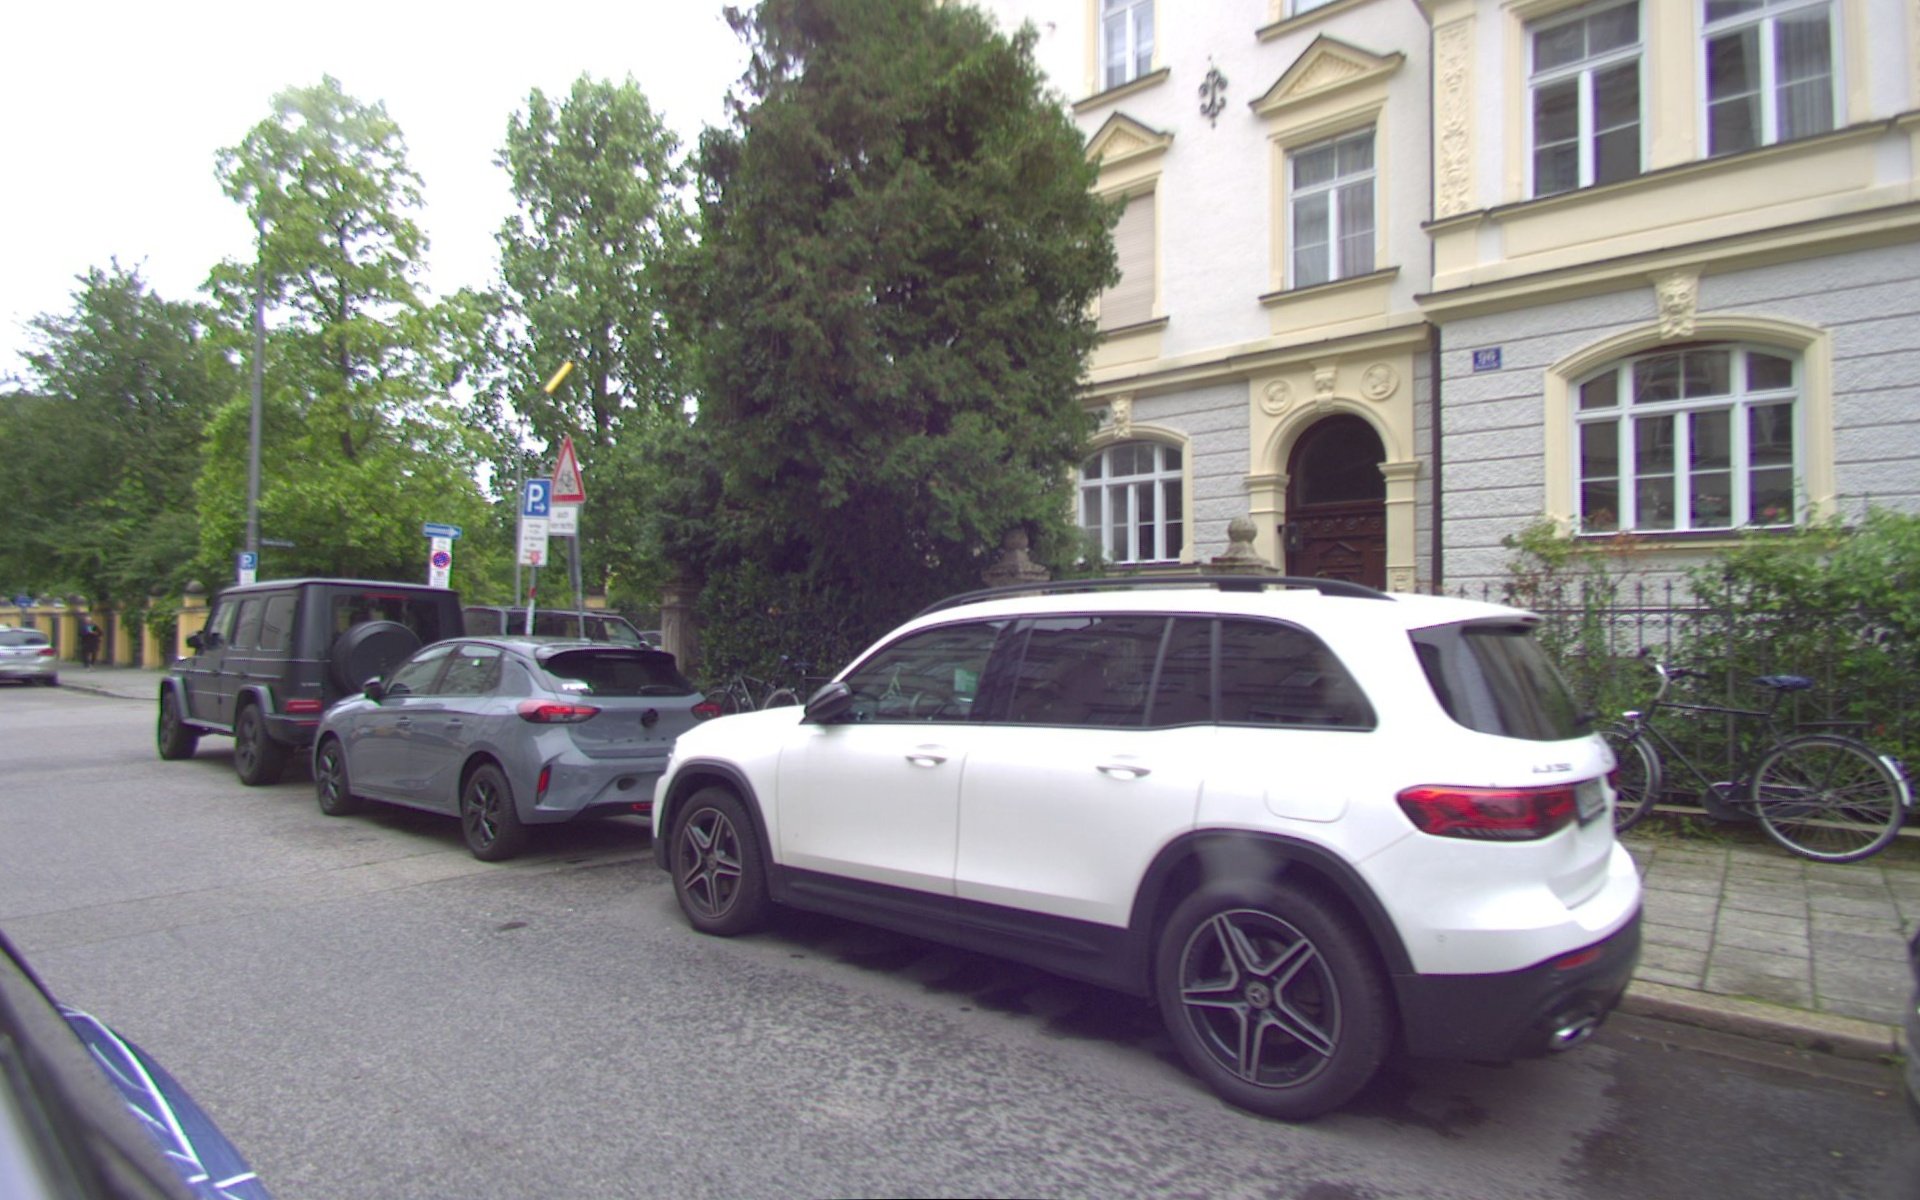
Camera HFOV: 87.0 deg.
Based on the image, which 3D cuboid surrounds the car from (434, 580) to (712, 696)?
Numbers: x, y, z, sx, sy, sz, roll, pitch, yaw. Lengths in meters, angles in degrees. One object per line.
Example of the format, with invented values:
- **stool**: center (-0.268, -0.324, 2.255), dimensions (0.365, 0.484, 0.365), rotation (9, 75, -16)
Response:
- **car**: center (-6.999, 0.670, 18.778), dimensions (2.049, 1.872, 4.470), rotation (-1, -2, 33)

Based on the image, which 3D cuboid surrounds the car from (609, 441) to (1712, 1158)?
- **car**: center (0.494, 0.518, 4.490), dimensions (4.481, 1.661, 1.788), rotation (-1, -3, 40)

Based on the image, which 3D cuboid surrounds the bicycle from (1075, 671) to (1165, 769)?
- **bicycle**: center (1.734, 1.244, 10.817), dimensions (0.337, 0.969, 1.459), rotation (-2, -4, 36)

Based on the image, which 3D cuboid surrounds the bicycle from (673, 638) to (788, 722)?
- **bicycle**: center (-2.819, 0.955, 12.346), dimensions (1.635, 0.959, 0.446), rotation (-3, -2, 38)

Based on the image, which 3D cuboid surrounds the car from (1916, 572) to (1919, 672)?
- **car**: center (4.078, 0.577, 1.254), dimensions (3.994, 1.431, 1.751), rotation (-2, -2, 38)

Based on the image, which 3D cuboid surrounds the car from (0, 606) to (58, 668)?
- **car**: center (-24.743, 0.941, 25.978), dimensions (3.951, 1.504, 1.684), rotation (-1, -3, 39)

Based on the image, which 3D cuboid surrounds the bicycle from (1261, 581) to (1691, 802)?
- **bicycle**: center (3.407, 0.553, 6.924), dimensions (2.529, 1.270, 0.689), rotation (-1, -3, 41)

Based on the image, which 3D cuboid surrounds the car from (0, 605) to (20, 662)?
- **car**: center (-28.490, 0.956, 29.019), dimensions (3.925, 1.573, 1.684), rotation (-1, -1, 39)

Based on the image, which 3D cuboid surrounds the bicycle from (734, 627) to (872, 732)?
- **bicycle**: center (-1.818, 0.871, 11.539), dimensions (1.786, 1.105, 0.484), rotation (-2, -2, 39)

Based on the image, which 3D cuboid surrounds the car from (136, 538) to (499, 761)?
- **car**: center (-7.069, 0.460, 10.915), dimensions (4.813, 1.901, 1.893), rotation (0, -2, 40)

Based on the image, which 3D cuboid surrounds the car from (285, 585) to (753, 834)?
- **car**: center (-3.516, 0.705, 7.772), dimensions (3.915, 1.441, 1.626), rotation (-1, -4, 39)

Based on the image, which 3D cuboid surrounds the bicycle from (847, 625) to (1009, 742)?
- **bicycle**: center (-0.354, 0.814, 10.349), dimensions (1.764, 1.105, 0.484), rotation (-2, -2, 39)

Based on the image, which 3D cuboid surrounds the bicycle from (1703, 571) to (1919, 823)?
- **bicycle**: center (5.499, 0.514, 5.305), dimensions (2.529, 1.307, 0.747), rotation (-1, -3, 41)
